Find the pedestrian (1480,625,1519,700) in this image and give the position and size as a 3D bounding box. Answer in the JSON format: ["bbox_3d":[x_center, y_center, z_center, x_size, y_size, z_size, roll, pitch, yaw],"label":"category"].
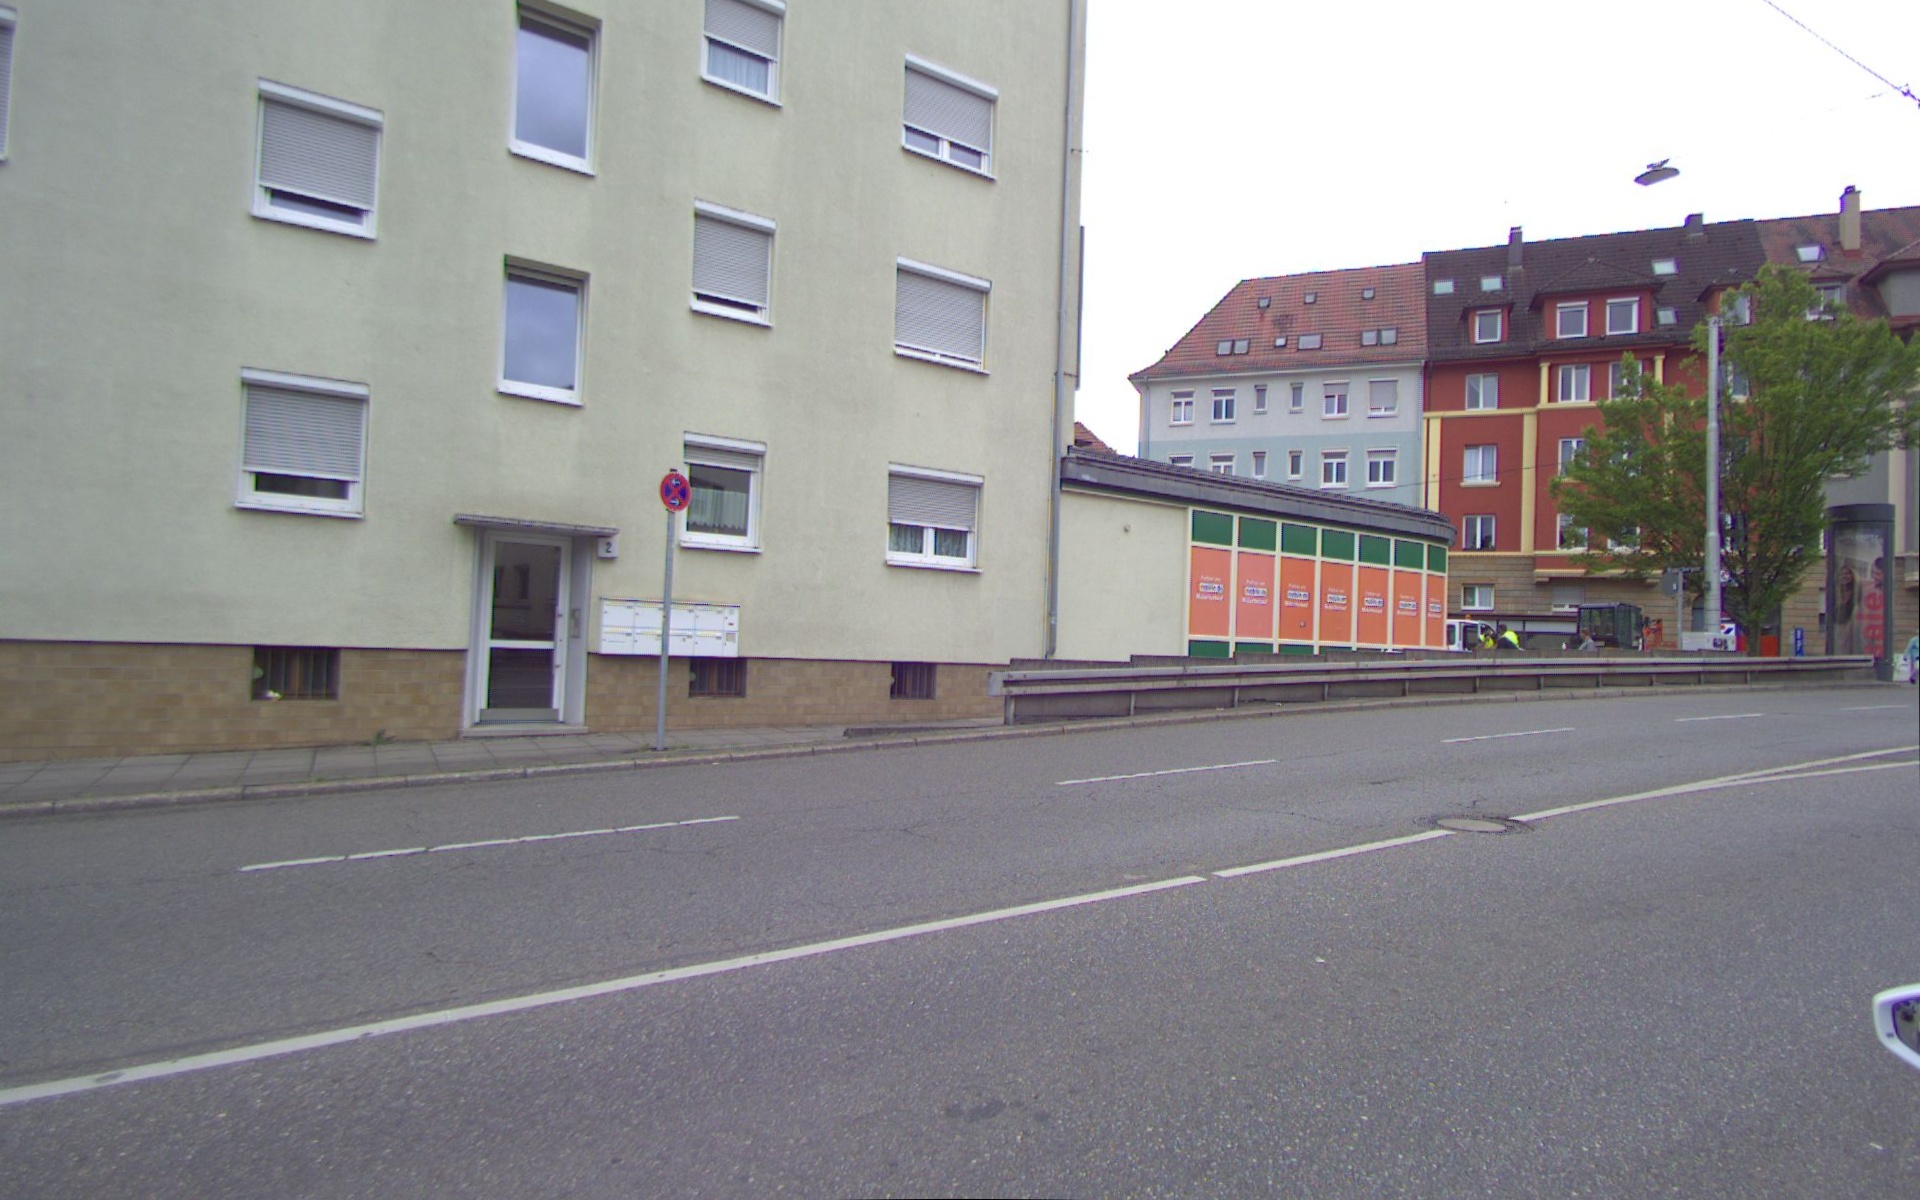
[{"bbox_3d":[13.346,1.538,24.852,0.605,1.785,0.573,2,1,5],"label":"pedestrian"}]

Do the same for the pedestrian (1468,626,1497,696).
[{"bbox_3d":[13.470,1.558,25.898,0.467,1.753,0.543,2,1,14],"label":"pedestrian"}]

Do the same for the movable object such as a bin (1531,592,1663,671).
[{"bbox_3d":[16.277,0.778,25.606,3.972,1.795,1.884,2,1,-43],"label":"movable object such as a bin"}]

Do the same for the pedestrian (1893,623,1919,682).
[{"bbox_3d":[26.414,1.445,27.895,0.480,1.588,0.586,2,1,-30],"label":"pedestrian"}]

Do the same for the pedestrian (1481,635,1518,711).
[{"bbox_3d":[12.671,1.702,23.597,0.539,1.722,0.557,1,1,-41],"label":"pedestrian"}]

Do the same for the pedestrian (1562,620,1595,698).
[{"bbox_3d":[14.379,1.348,23.354,0.533,1.753,0.593,3,1,26],"label":"pedestrian"}]
